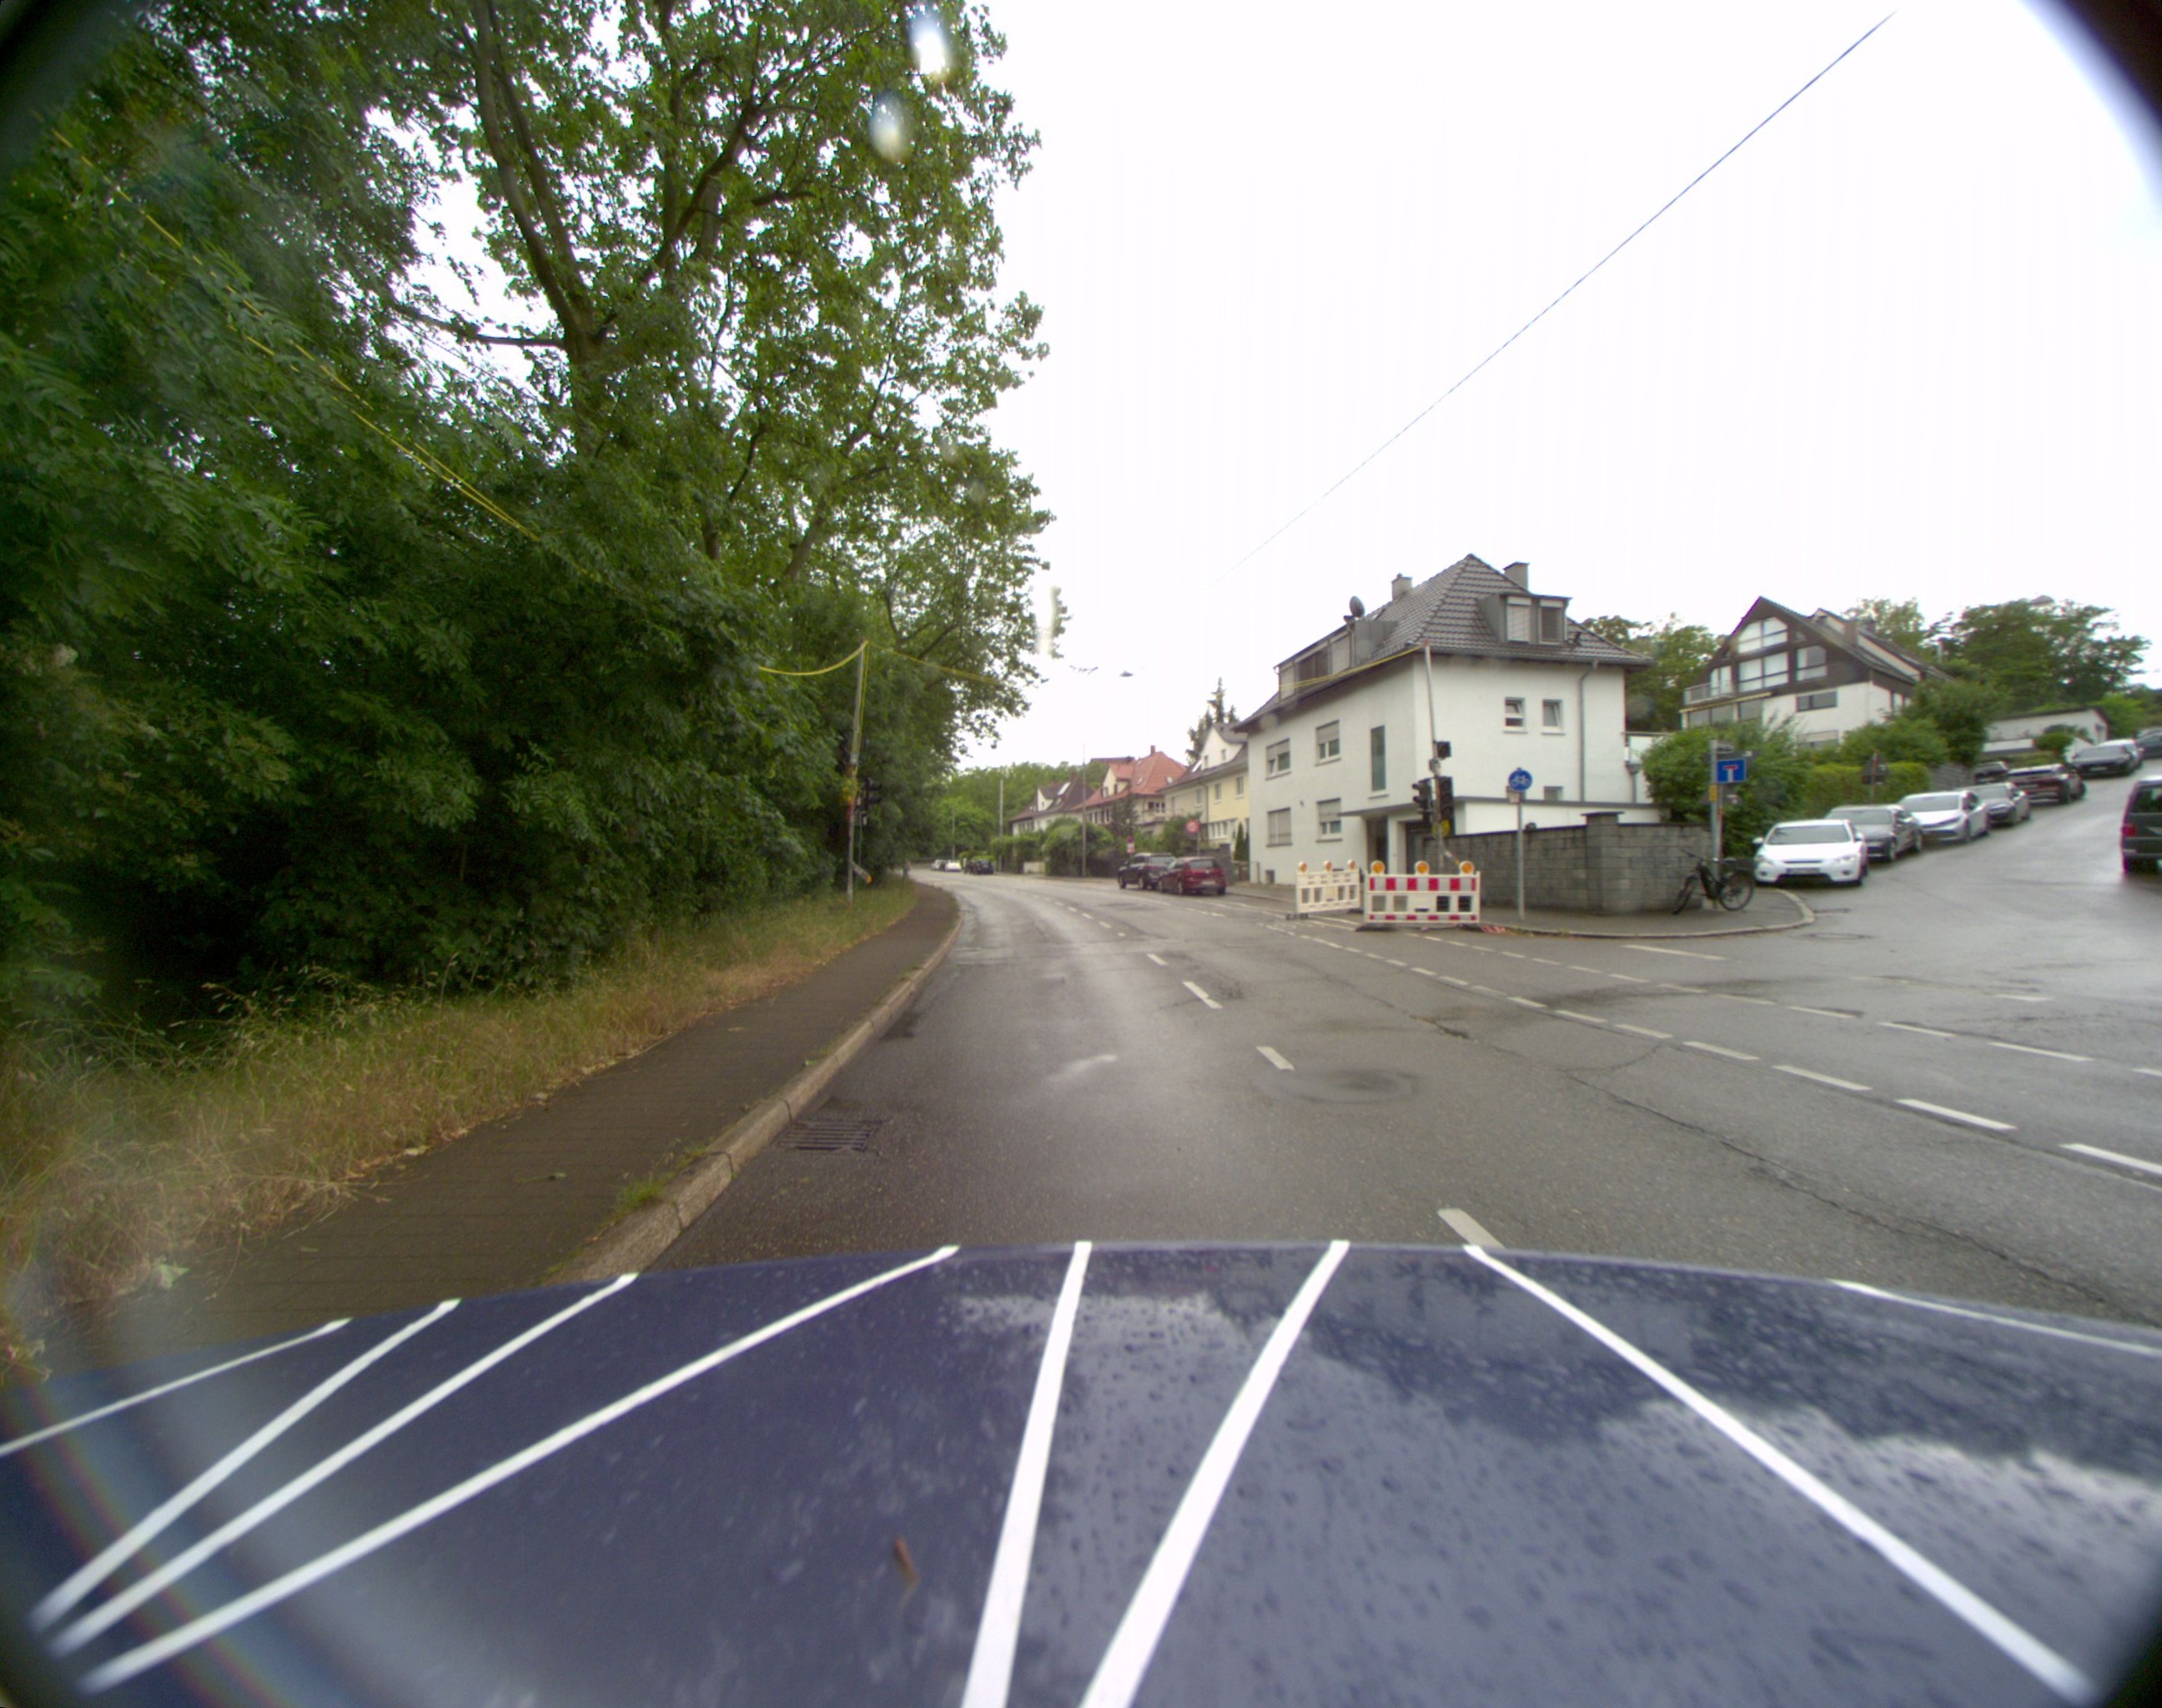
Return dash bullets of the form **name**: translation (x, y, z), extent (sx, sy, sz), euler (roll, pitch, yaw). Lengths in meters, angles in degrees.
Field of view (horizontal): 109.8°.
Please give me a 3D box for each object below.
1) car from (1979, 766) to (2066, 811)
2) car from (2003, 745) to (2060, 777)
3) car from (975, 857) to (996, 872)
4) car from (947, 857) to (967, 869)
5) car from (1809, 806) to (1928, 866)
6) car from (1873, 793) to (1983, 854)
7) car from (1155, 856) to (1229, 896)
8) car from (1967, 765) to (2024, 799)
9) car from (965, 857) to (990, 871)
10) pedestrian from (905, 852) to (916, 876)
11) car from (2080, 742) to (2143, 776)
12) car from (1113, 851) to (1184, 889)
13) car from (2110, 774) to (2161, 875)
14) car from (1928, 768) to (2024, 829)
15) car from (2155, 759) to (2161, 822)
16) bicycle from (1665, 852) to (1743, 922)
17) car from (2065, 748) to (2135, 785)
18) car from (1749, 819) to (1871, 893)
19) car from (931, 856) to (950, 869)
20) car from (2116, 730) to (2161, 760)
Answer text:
- **car**: translation (40.055, -2.782, 32.306), extent (4.005, 1.711, 1.886), euler (-4, 3, -32)
- **car**: translation (57.388, -5.580, 45.935), extent (4.007, 1.711, 1.886), euler (-5, 3, -42)
- **car**: translation (-9.500, 1.006, 75.524), extent (1.525, 1.445, 3.025), euler (1, -1, -18)
- **car**: translation (-15.306, 1.059, 93.798), extent (1.705, 1.459, 3.704), euler (-1, 0, -20)
- **car**: translation (22.689, -0.548, 21.860), extent (4.006, 1.458, 1.886), euler (-4, 3, -36)
- **car**: translation (27.037, -0.982, 24.231), extent (4.006, 1.711, 1.886), euler (-4, 3, -35)
- **car**: translation (4.275, 0.818, 29.918), extent (1.622, 1.432, 4.226), euler (-1, 0, -10)
- **car**: translation (51.870, -4.050, 43.172), extent (4.007, 1.711, 1.886), euler (-5, 3, -42)
- **car**: translation (-10.816, 1.012, 79.488), extent (1.695, 1.410, 4.208), euler (1, -1, -21)
- **pedestrian**: translation (-11.383, 0.668, 50.784), extent (0.644, 1.602, 0.668), euler (-1, 2, -19)
- **car**: translation (59.529, -5.461, 43.887), extent (4.005, 1.711, 1.886), euler (-4, 3, -32)
- **car**: translation (3.041, 0.724, 35.143), extent (1.761, 1.648, 4.399), euler (1, -1, -16)
- **car**: translation (23.695, -0.714, 16.078), extent (4.005, 1.909, 1.995), euler (-7, 4, -32)
- **car**: translation (32.120, -2.008, 27.248), extent (4.006, 1.981, 1.886), euler (-4, 3, -35)
- **car**: translation (33.040, -1.973, 22.099), extent (4.005, 1.736, 1.864), euler (-7, 4, -32)
- **bicycle**: translation (11.219, 0.577, 13.671), extent (1.520, 1.118, 0.462), euler (-4, 3, -25)
- **car**: translation (54.092, -4.612, 40.327), extent (4.005, 1.711, 1.886), euler (-4, 3, -32)
- **car**: translation (17.702, -0.007, 18.387), extent (4.007, 1.458, 1.886), euler (-5, 3, -42)
- **car**: translation (-19.095, 1.175, 103.207), extent (1.739, 1.414, 4.274), euler (-5, 4, -19)
- **car**: translation (68.453, -6.962, 47.682), extent (1.894, 1.711, 3.990), euler (-4, 3, -30)
